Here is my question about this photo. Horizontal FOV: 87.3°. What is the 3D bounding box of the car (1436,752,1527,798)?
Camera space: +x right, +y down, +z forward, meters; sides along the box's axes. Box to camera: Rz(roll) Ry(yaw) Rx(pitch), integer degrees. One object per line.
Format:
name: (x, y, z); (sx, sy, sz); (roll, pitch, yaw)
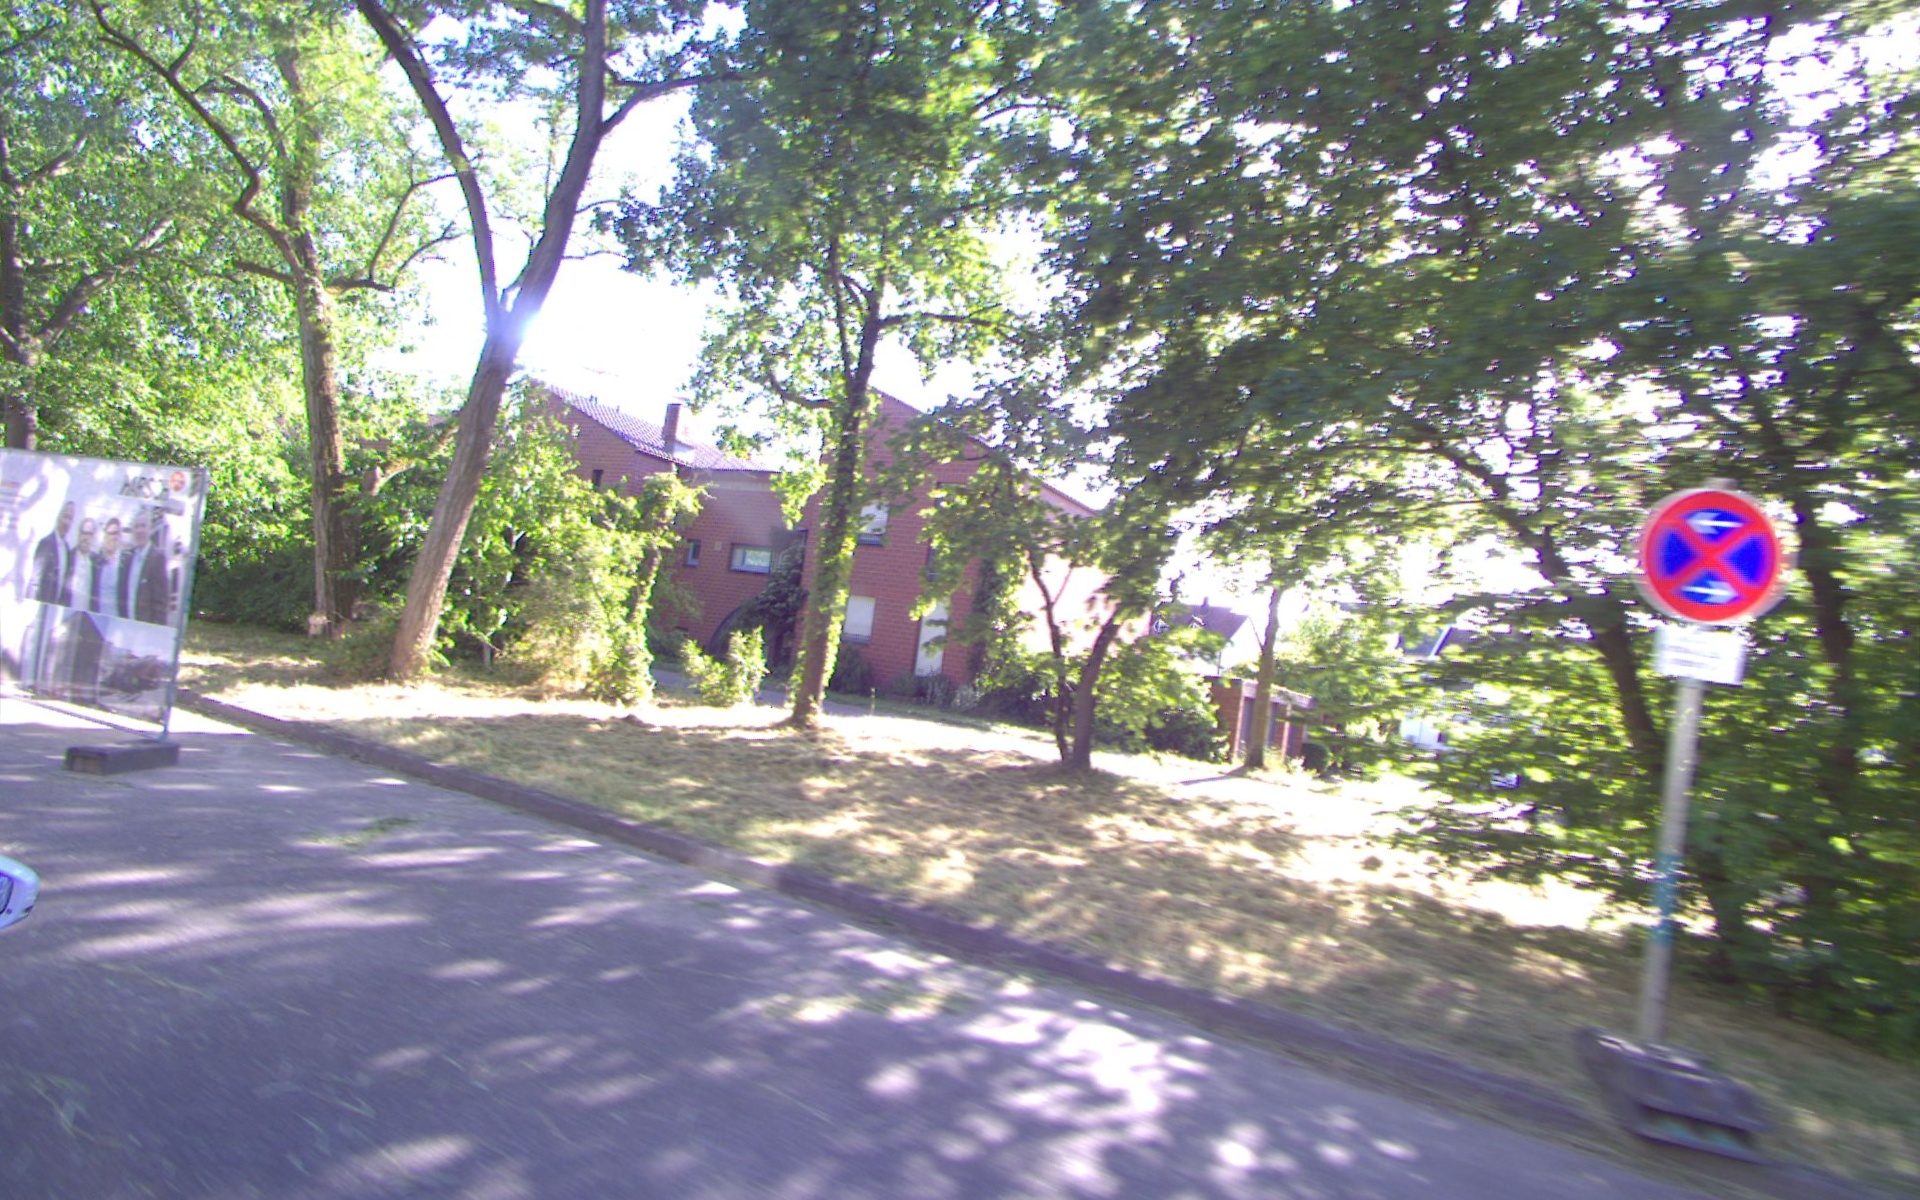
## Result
car: (26.422, 8.862, 51.085); (1.790, 1.633, 3.620); (10, -4, -25)
